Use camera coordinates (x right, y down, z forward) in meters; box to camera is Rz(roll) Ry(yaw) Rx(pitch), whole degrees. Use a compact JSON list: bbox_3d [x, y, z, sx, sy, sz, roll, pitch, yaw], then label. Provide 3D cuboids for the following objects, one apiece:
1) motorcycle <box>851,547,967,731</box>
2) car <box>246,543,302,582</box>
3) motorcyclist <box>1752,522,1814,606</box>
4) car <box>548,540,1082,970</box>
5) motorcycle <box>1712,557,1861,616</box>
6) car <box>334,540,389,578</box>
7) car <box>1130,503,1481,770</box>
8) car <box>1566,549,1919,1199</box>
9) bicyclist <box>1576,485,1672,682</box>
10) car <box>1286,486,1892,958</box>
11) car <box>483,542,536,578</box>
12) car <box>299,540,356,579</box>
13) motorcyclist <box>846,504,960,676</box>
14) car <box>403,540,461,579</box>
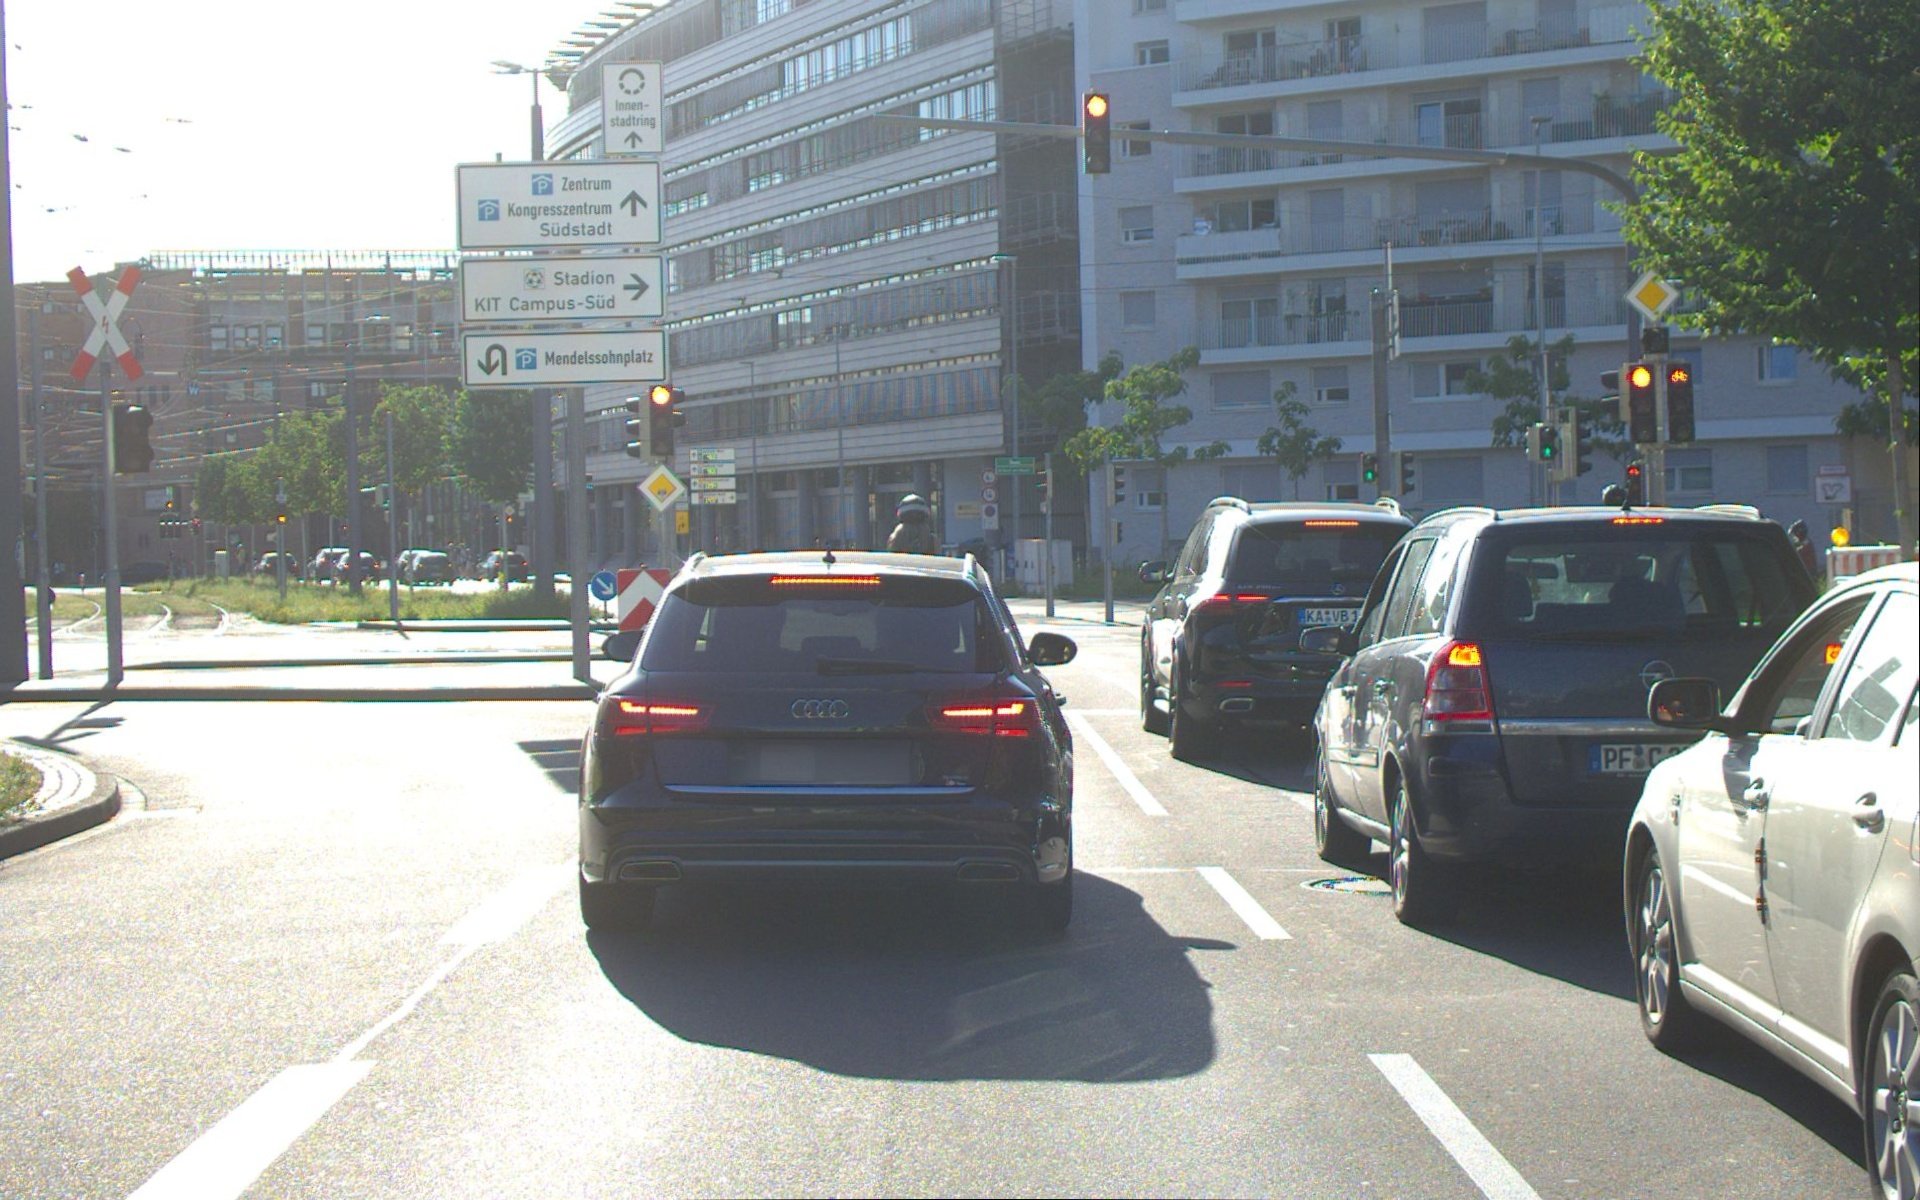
[{"bbox_3d":[-0.393,0.284,27.088,0.862,1.388,1.894,-1,1,0],"label":"motorcycle"},{"bbox_3d":[-31.741,-1.735,158.953,1.993,1.700,4.001,-2,0,-18],"label":"car"},{"bbox_3d":[14.660,-0.644,61.278,0.925,1.476,1.171,-1,1,7],"label":"motorcyclist"},{"bbox_3d":[-0.535,0.508,13.976,1.842,1.449,4.000,1,1,-1],"label":"car"},{"bbox_3d":[14.714,-0.242,61.287,2.453,0.997,1.171,-1,1,7],"label":"motorcycle"},{"bbox_3d":[-26.769,-1.810,153.661,1.993,1.590,4.001,-2,0,-16],"label":"car"},{"bbox_3d":[2.352,0.186,24.546,2.003,1.709,4.373,1,1,-1],"label":"car"},{"bbox_3d":[2.772,0.619,8.349,1.746,1.476,4.628,-1,1,0],"label":"car"},{"bbox_3d":[5.642,-0.152,29.254,0.654,1.637,0.972,-1,1,3],"label":"bicyclist"},{"bbox_3d":[2.476,0.409,14.561,1.746,1.690,4.261,1,1,0],"label":"car"},{"bbox_3d":[-21.469,-1.903,163.748,1.993,1.590,4.001,-2,0,-15],"label":"car"},{"bbox_3d":[-29.406,-1.861,159.733,1.993,1.700,4.001,-2,0,-18],"label":"car"},{"bbox_3d":[-0.444,-0.081,26.903,0.862,1.322,0.681,-1,1,0],"label":"motorcyclist"},{"bbox_3d":[-23.250,-1.764,151.369,1.993,1.590,4.001,-2,0,-16],"label":"car"}]
